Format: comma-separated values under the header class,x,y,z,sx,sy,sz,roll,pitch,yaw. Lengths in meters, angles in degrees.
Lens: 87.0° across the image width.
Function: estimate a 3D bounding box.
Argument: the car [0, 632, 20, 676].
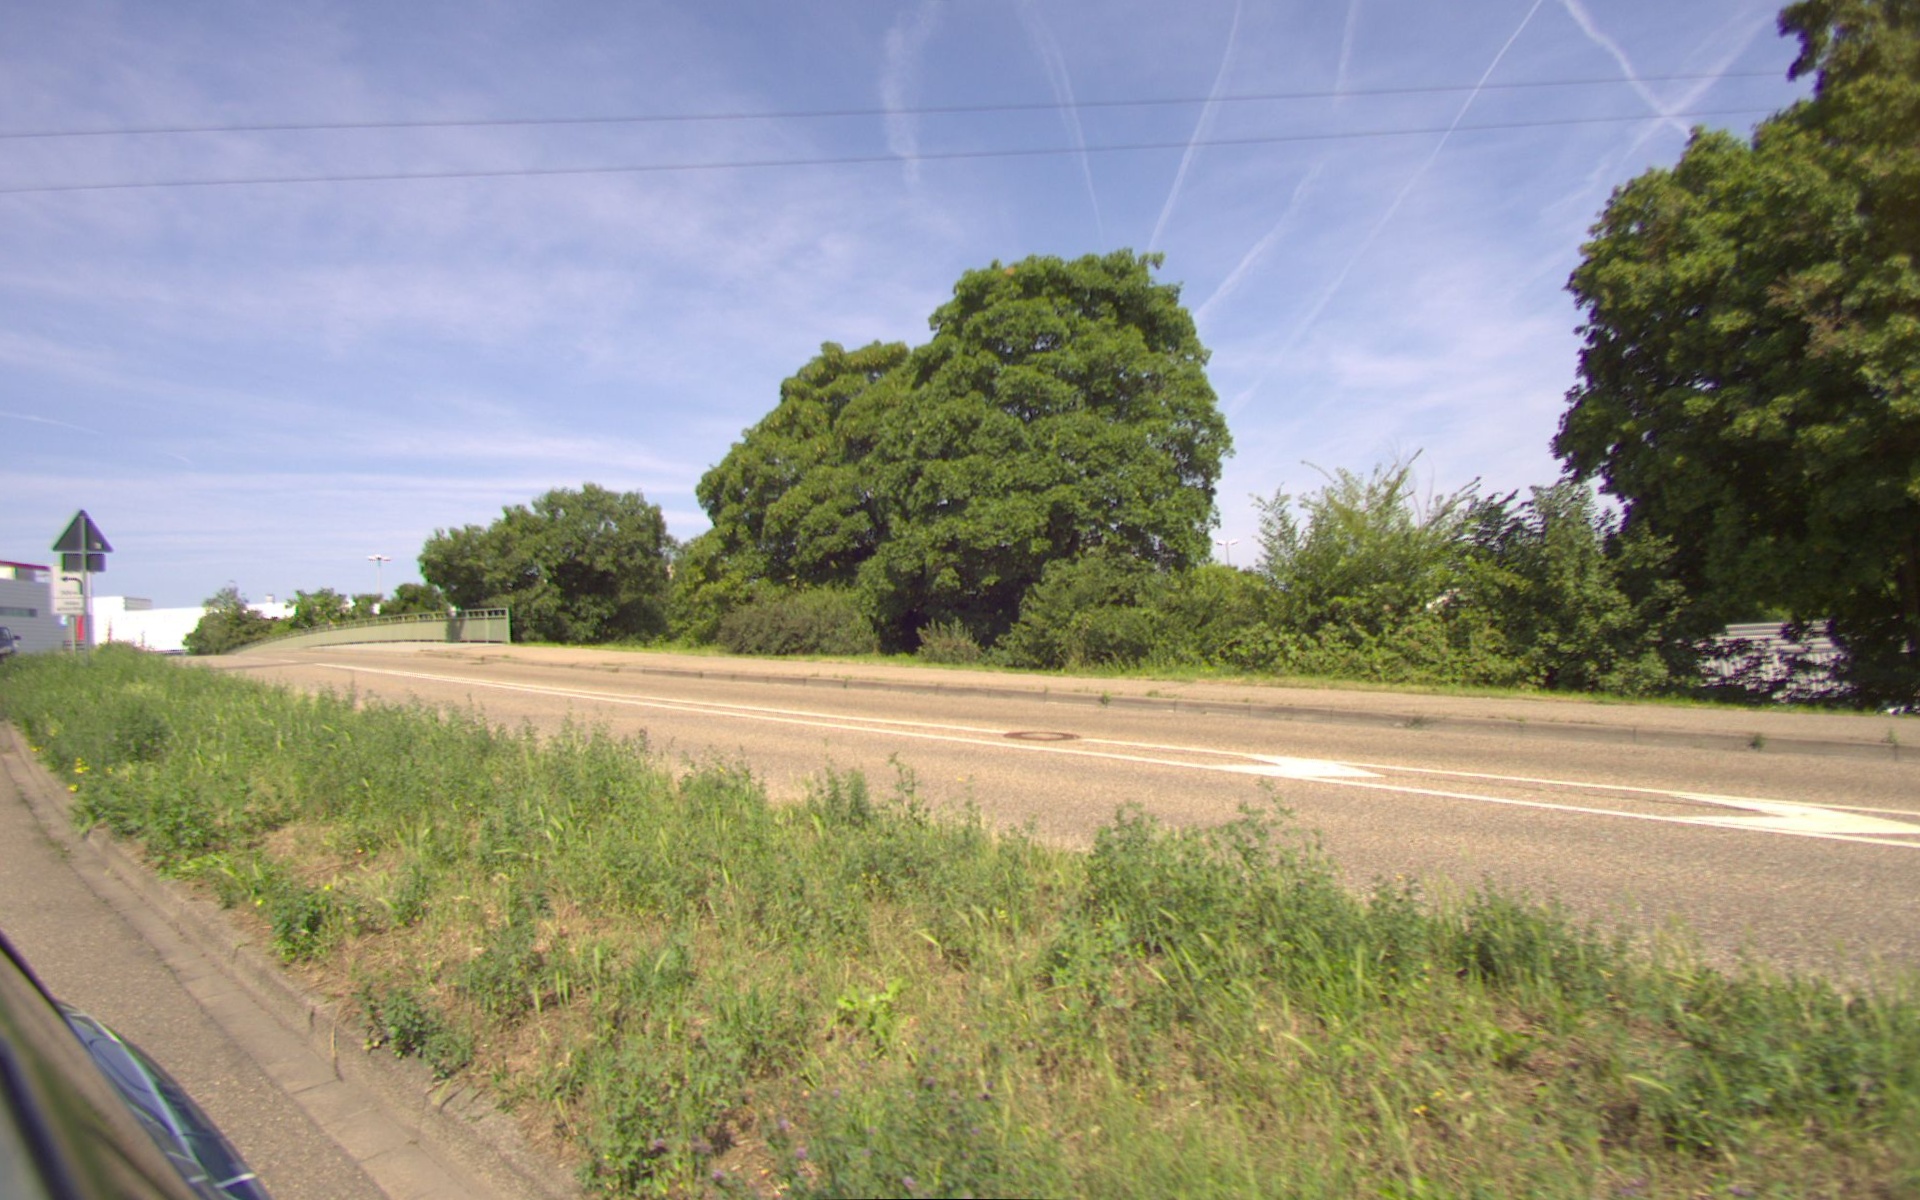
class,x,y,z,sx,sy,sz,roll,pitch,yaw
car,-33.648,1.844,34.797,1.822,1.429,4.005,0,-2,-41
